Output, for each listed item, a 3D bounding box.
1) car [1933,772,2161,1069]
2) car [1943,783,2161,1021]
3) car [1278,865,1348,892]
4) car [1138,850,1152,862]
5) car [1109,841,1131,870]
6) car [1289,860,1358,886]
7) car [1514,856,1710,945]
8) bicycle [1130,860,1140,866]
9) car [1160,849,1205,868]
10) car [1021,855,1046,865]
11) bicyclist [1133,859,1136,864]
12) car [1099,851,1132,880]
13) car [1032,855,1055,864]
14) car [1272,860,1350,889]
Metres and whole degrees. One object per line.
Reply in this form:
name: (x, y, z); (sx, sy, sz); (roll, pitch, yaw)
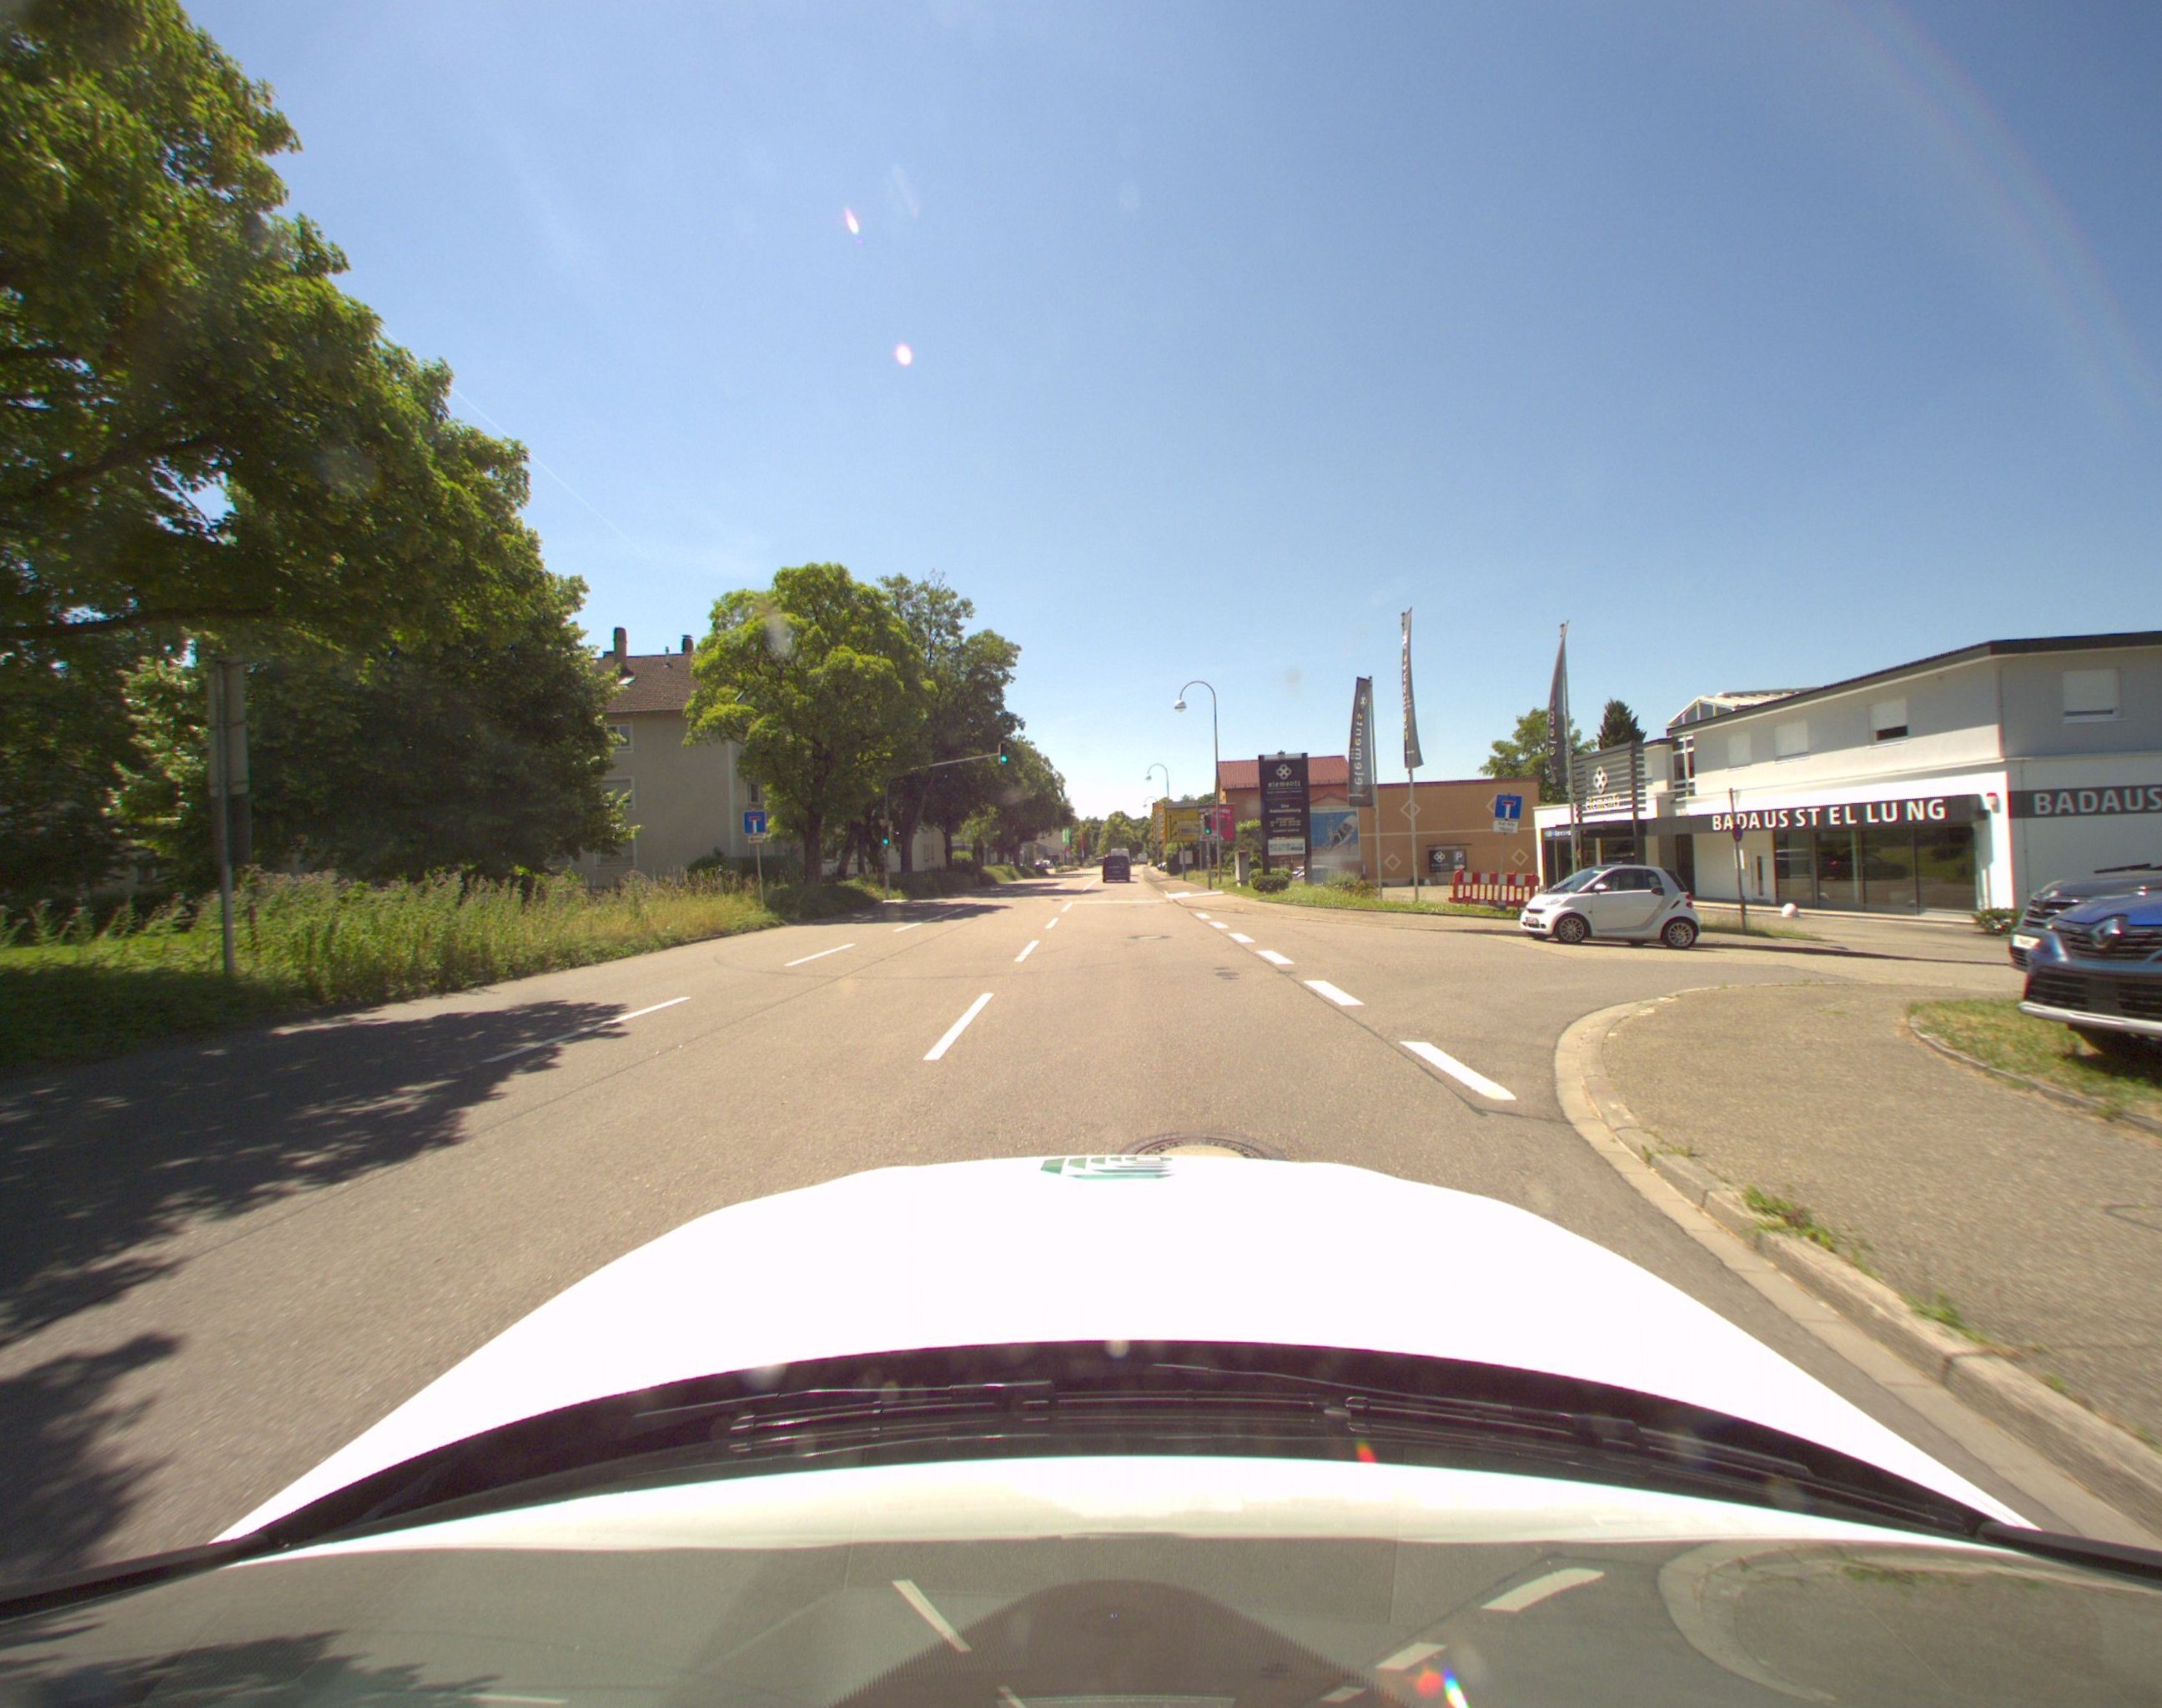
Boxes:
car: (7.596, 0.499, 4.193); (4.040, 1.514, 1.862); (4, -1, 13)
car: (10.789, 0.504, 6.330); (5.210, 1.899, 2.010); (4, 2, 33)
car: (13.029, 1.383, 45.845); (3.601, 1.417, 1.702); (-1, 0, 8)
car: (14.330, 0.502, 182.707); (2.337, 2.546, 4.973); (-1, 1, 12)
car: (3.864, 0.127, 80.162); (2.111, 2.677, 5.667); (-1, 1, 3)
car: (16.276, 1.261, 54.840); (4.233, 1.599, 1.895); (-2, 0, 9)
car: (10.101, 0.872, 15.654); (2.752, 1.520, 1.599); (2, -2, 7)
bicycle: (9.892, 1.670, 150.073); (1.723, 0.887, 0.553); (-3, 2, -24)
car: (10.843, 0.421, 87.273); (4.544, 1.717, 1.999); (-4, 1, -2)
car: (-8.626, 1.159, 148.268); (4.008, 1.706, 1.913); (-1, 1, 20)
bicyclist: (9.865, 1.385, 150.057); (0.470, 0.853, 0.553); (-3, 2, -24)
car: (2.307, 0.749, 55.602); (1.987, 1.893, 3.999); (-1, 1, -1)
car: (-7.152, 1.085, 155.928); (3.960, 1.662, 2.007); (-1, 1, 12)
car: (13.898, 1.239, 49.306); (4.252, 1.646, 1.892); (-1, 0, 4)
